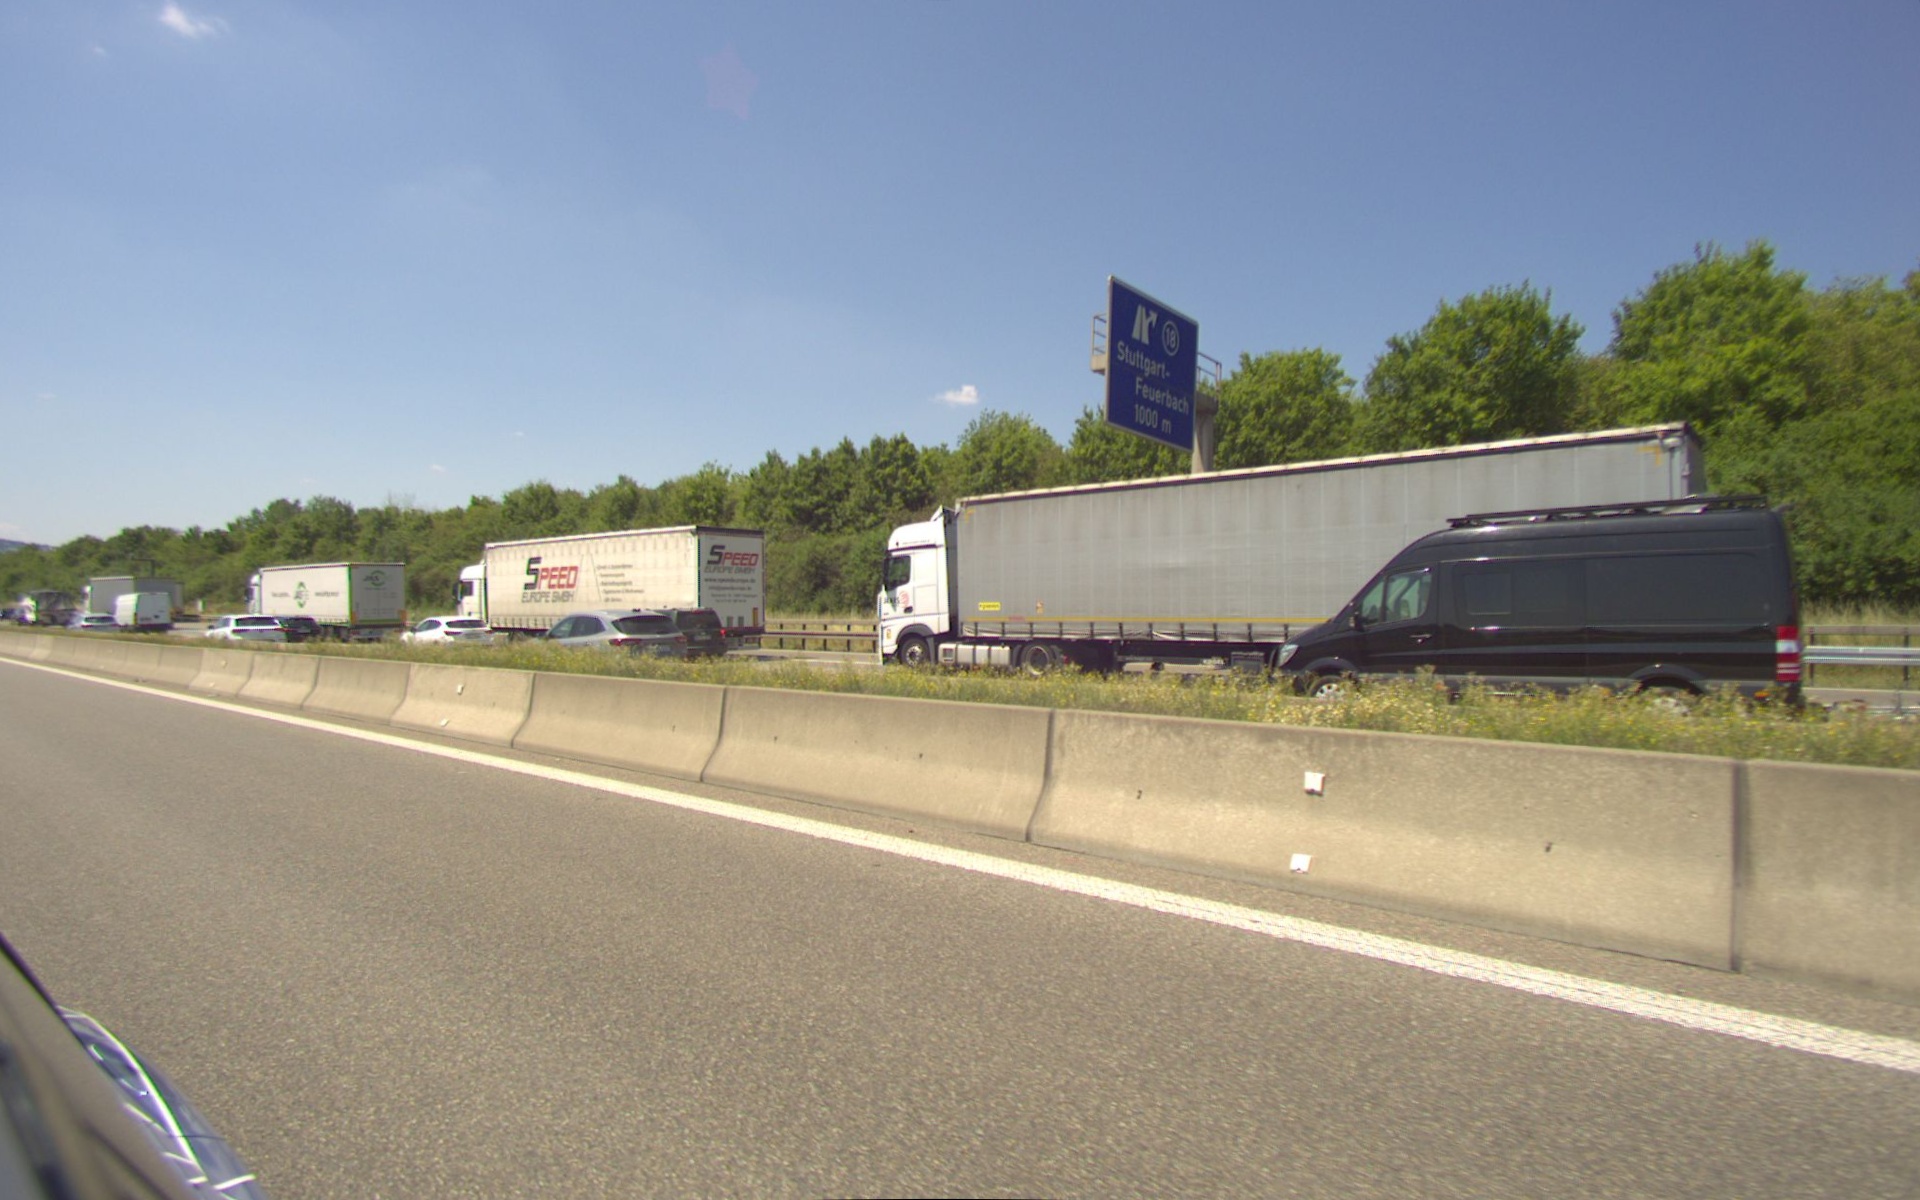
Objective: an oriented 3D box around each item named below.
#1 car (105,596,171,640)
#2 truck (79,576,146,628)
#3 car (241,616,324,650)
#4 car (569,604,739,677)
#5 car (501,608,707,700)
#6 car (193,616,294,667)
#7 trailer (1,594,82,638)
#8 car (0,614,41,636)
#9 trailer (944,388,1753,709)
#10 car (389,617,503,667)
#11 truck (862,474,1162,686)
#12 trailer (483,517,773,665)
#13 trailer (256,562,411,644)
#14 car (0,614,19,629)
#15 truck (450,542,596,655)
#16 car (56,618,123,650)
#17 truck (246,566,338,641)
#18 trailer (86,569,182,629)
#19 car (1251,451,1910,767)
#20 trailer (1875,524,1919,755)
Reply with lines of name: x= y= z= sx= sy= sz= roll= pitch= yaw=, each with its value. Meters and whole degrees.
car: x=-51.707 y=1.094 z=63.600 sx=7.567 sy=2.593 sz=1.878 roll=0 pitch=0 yaw=40
truck: x=-70.543 y=0.169 z=84.181 sx=6.176 sy=4.164 sz=3.168 roll=0 pitch=-1 yaw=39
car: x=-31.053 y=1.487 z=46.360 sx=4.920 sy=1.445 sz=1.857 roll=-1 pitch=0 yaw=40
car: x=-8.027 y=0.977 z=26.333 sx=4.788 sy=1.728 sz=1.973 roll=-1 pitch=-1 yaw=41
car: x=-7.455 y=1.039 z=20.951 sx=4.793 sy=1.701 sz=1.912 roll=-1 pitch=-1 yaw=41
car: x=-26.208 y=1.453 z=36.962 sx=4.403 sy=1.656 sz=1.973 roll=0 pitch=0 yaw=40
trailer: x=-72.898 y=1.178 z=80.206 sx=10.712 sy=3.207 sz=2.843 roll=0 pitch=1 yaw=37
car: x=-79.002 y=2.088 z=84.842 sx=4.923 sy=1.736 sz=2.087 roll=0 pitch=0 yaw=37
trailer: x=5.931 y=-0.642 z=19.198 sx=14.187 sy=4.238 sz=2.951 roll=-1 pitch=0 yaw=41
car: x=-17.266 y=1.355 z=33.918 sx=4.403 sy=1.485 sz=1.862 roll=0 pitch=0 yaw=40
truck: x=1.044 y=-0.391 z=23.537 sx=6.603 sy=4.241 sz=2.930 roll=-1 pitch=0 yaw=42
trailer: x=-11.984 y=-0.176 z=35.005 sx=13.860 sy=4.310 sz=2.782 roll=-1 pitch=0 yaw=41
trailer: x=-33.314 y=0.184 z=53.398 sx=13.867 sy=3.902 sz=2.873 roll=-1 pitch=0 yaw=41
car: x=-102.763 y=2.249 z=108.740 sx=4.306 sy=1.532 sz=1.972 roll=0 pitch=0 yaw=42
truck: x=-17.062 y=-0.020 z=39.361 sx=6.094 sy=4.073 sz=2.727 roll=-1 pitch=0 yaw=40
car: x=-46.252 y=1.765 z=53.764 sx=4.591 sy=1.590 sz=1.973 roll=-1 pitch=0 yaw=40
truck: x=-37.868 y=0.219 z=57.276 sx=5.970 sy=4.037 sz=2.819 roll=-1 pitch=-1 yaw=40
trailer: x=-65.714 y=-0.033 z=80.350 sx=13.764 sy=4.454 sz=3.190 roll=0 pitch=-1 yaw=39
car: x=7.239 y=0.160 z=12.669 sx=6.544 sy=3.037 sz=2.215 roll=-2 pitch=-2 yaw=39
trailer: x=11.308 y=0.360 z=9.441 sx=3.957 sy=2.270 sz=1.554 roll=-2 pitch=-2 yaw=39
